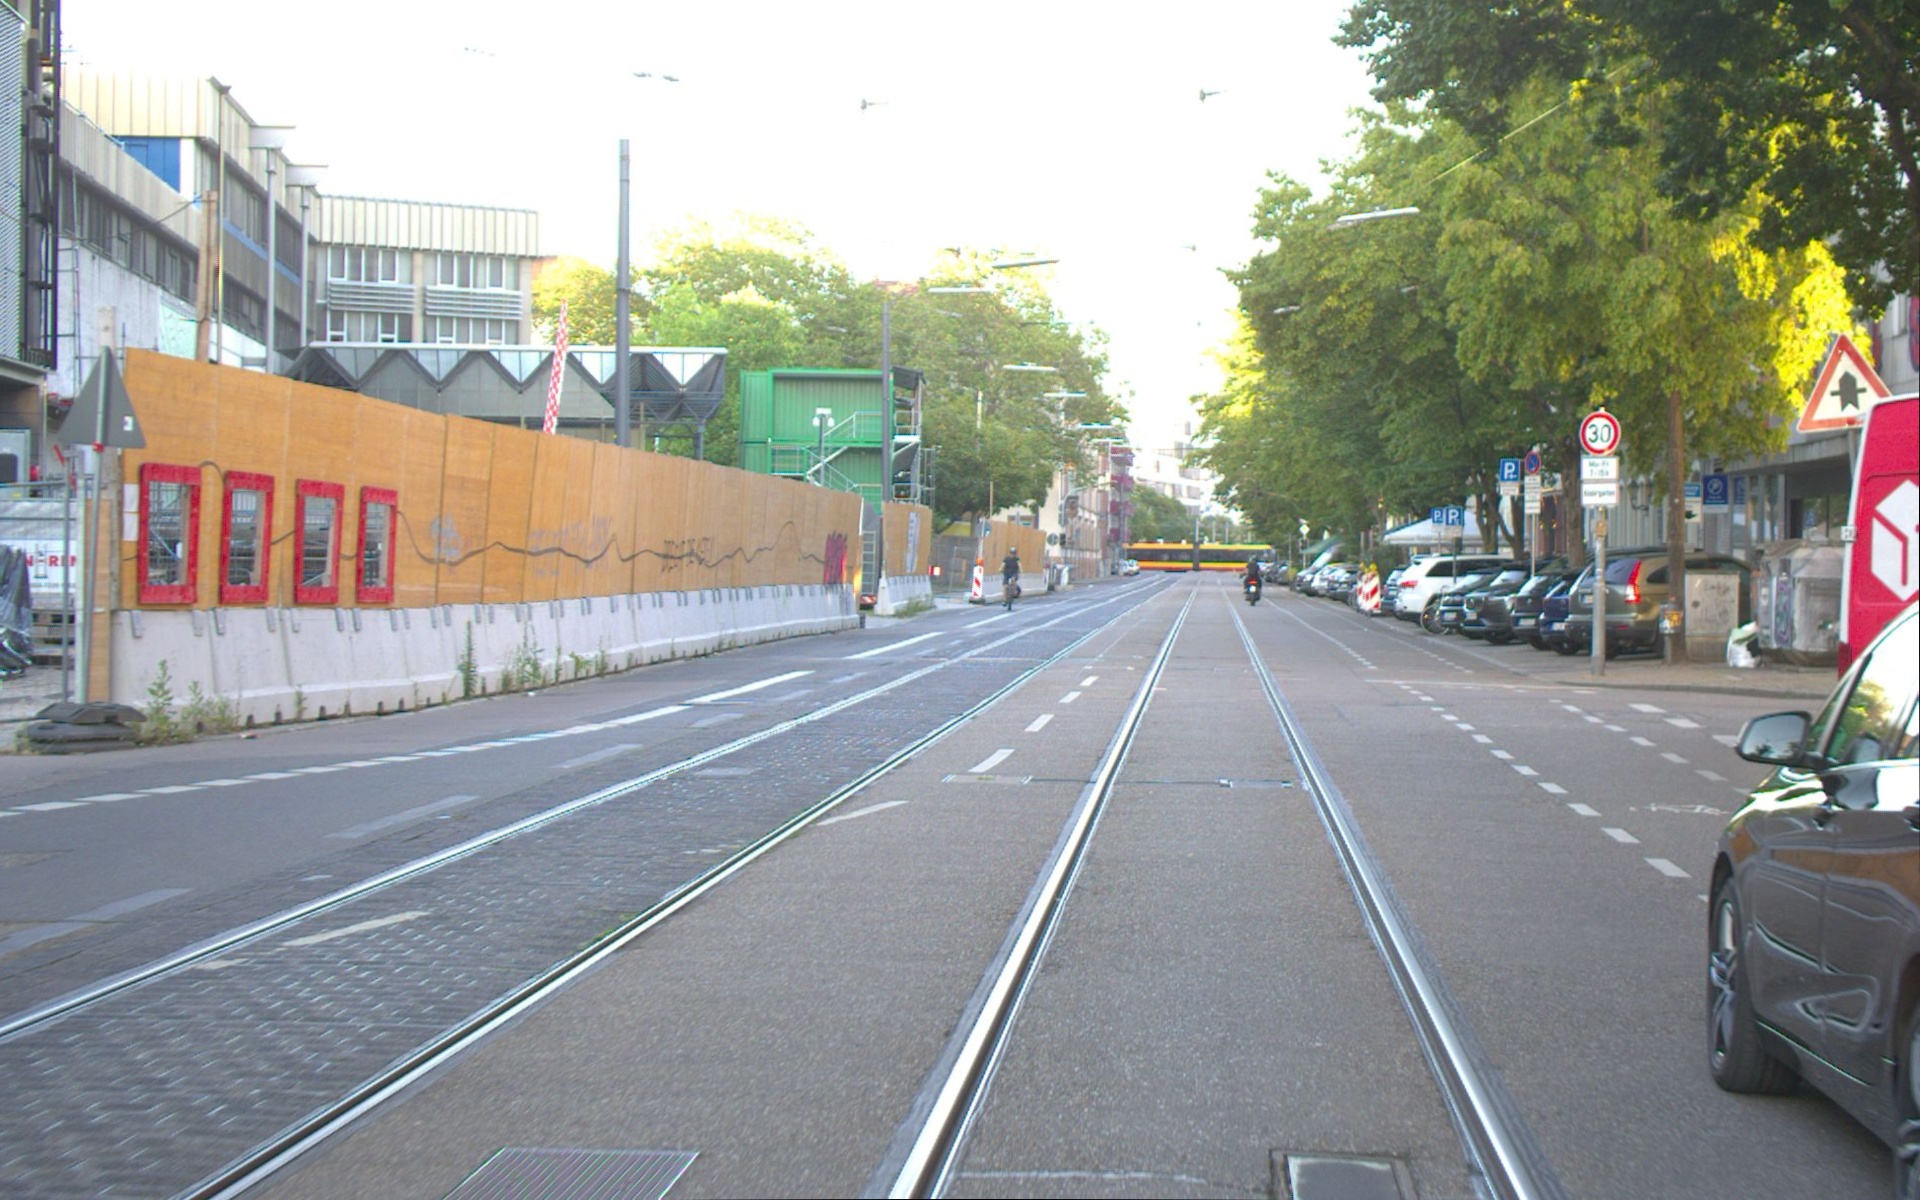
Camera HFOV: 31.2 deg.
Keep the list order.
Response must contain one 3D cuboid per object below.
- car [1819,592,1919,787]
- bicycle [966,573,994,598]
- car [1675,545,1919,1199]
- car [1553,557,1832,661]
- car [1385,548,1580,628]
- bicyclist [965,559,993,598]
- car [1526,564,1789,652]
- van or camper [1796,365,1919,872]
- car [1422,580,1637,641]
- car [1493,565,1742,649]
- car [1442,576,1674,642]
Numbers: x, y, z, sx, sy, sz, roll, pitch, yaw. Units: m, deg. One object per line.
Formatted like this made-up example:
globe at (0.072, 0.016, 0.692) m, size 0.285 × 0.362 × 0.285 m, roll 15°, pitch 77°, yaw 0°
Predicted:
car at (8.119, 0.554, 24.679) m, size 3.769 × 1.305 × 1.655 m, roll -3°, pitch 1°, yaw -34°
bicycle at (0.706, -0.505, 121.107) m, size 0.948 × 0.846 × 2.697 m, roll 1°, pitch 1°, yaw 2°
car at (3.044, 0.724, 8.484) m, size 1.882 × 1.614 × 4.000 m, roll 3°, pitch 1°, yaw 4°
car at (11.503, 0.134, 54.058) m, size 3.941 × 1.573 × 1.635 m, roll 0°, pitch 1°, yaw -11°
car at (11.566, -0.262, 76.259) m, size 3.941 × 1.716 × 1.635 m, roll 1°, pitch 1°, yaw -10°
bicyclist at (0.661, -0.757, 120.323) m, size 0.944 × 1.341 × 1.111 m, roll 1°, pitch 1°, yaw 2°
car at (11.581, 0.136, 57.178) m, size 3.941 × 1.401 × 1.635 m, roll 0°, pitch 1°, yaw -11°
van or camper at (7.281, -0.023, 18.267) m, size 5.531 × 2.522 × 2.087 m, roll -3°, pitch 1°, yaw -30°
car at (11.497, 0.209, 69.484) m, size 3.941 × 1.171 × 1.635 m, roll 1°, pitch 1°, yaw -10°
car at (11.535, 0.119, 60.384) m, size 3.941 × 1.401 × 1.635 m, roll 0°, pitch 1°, yaw -11°
car at (11.213, 0.167, 64.529) m, size 3.941 × 1.171 × 1.635 m, roll 0°, pitch 1°, yaw -11°
